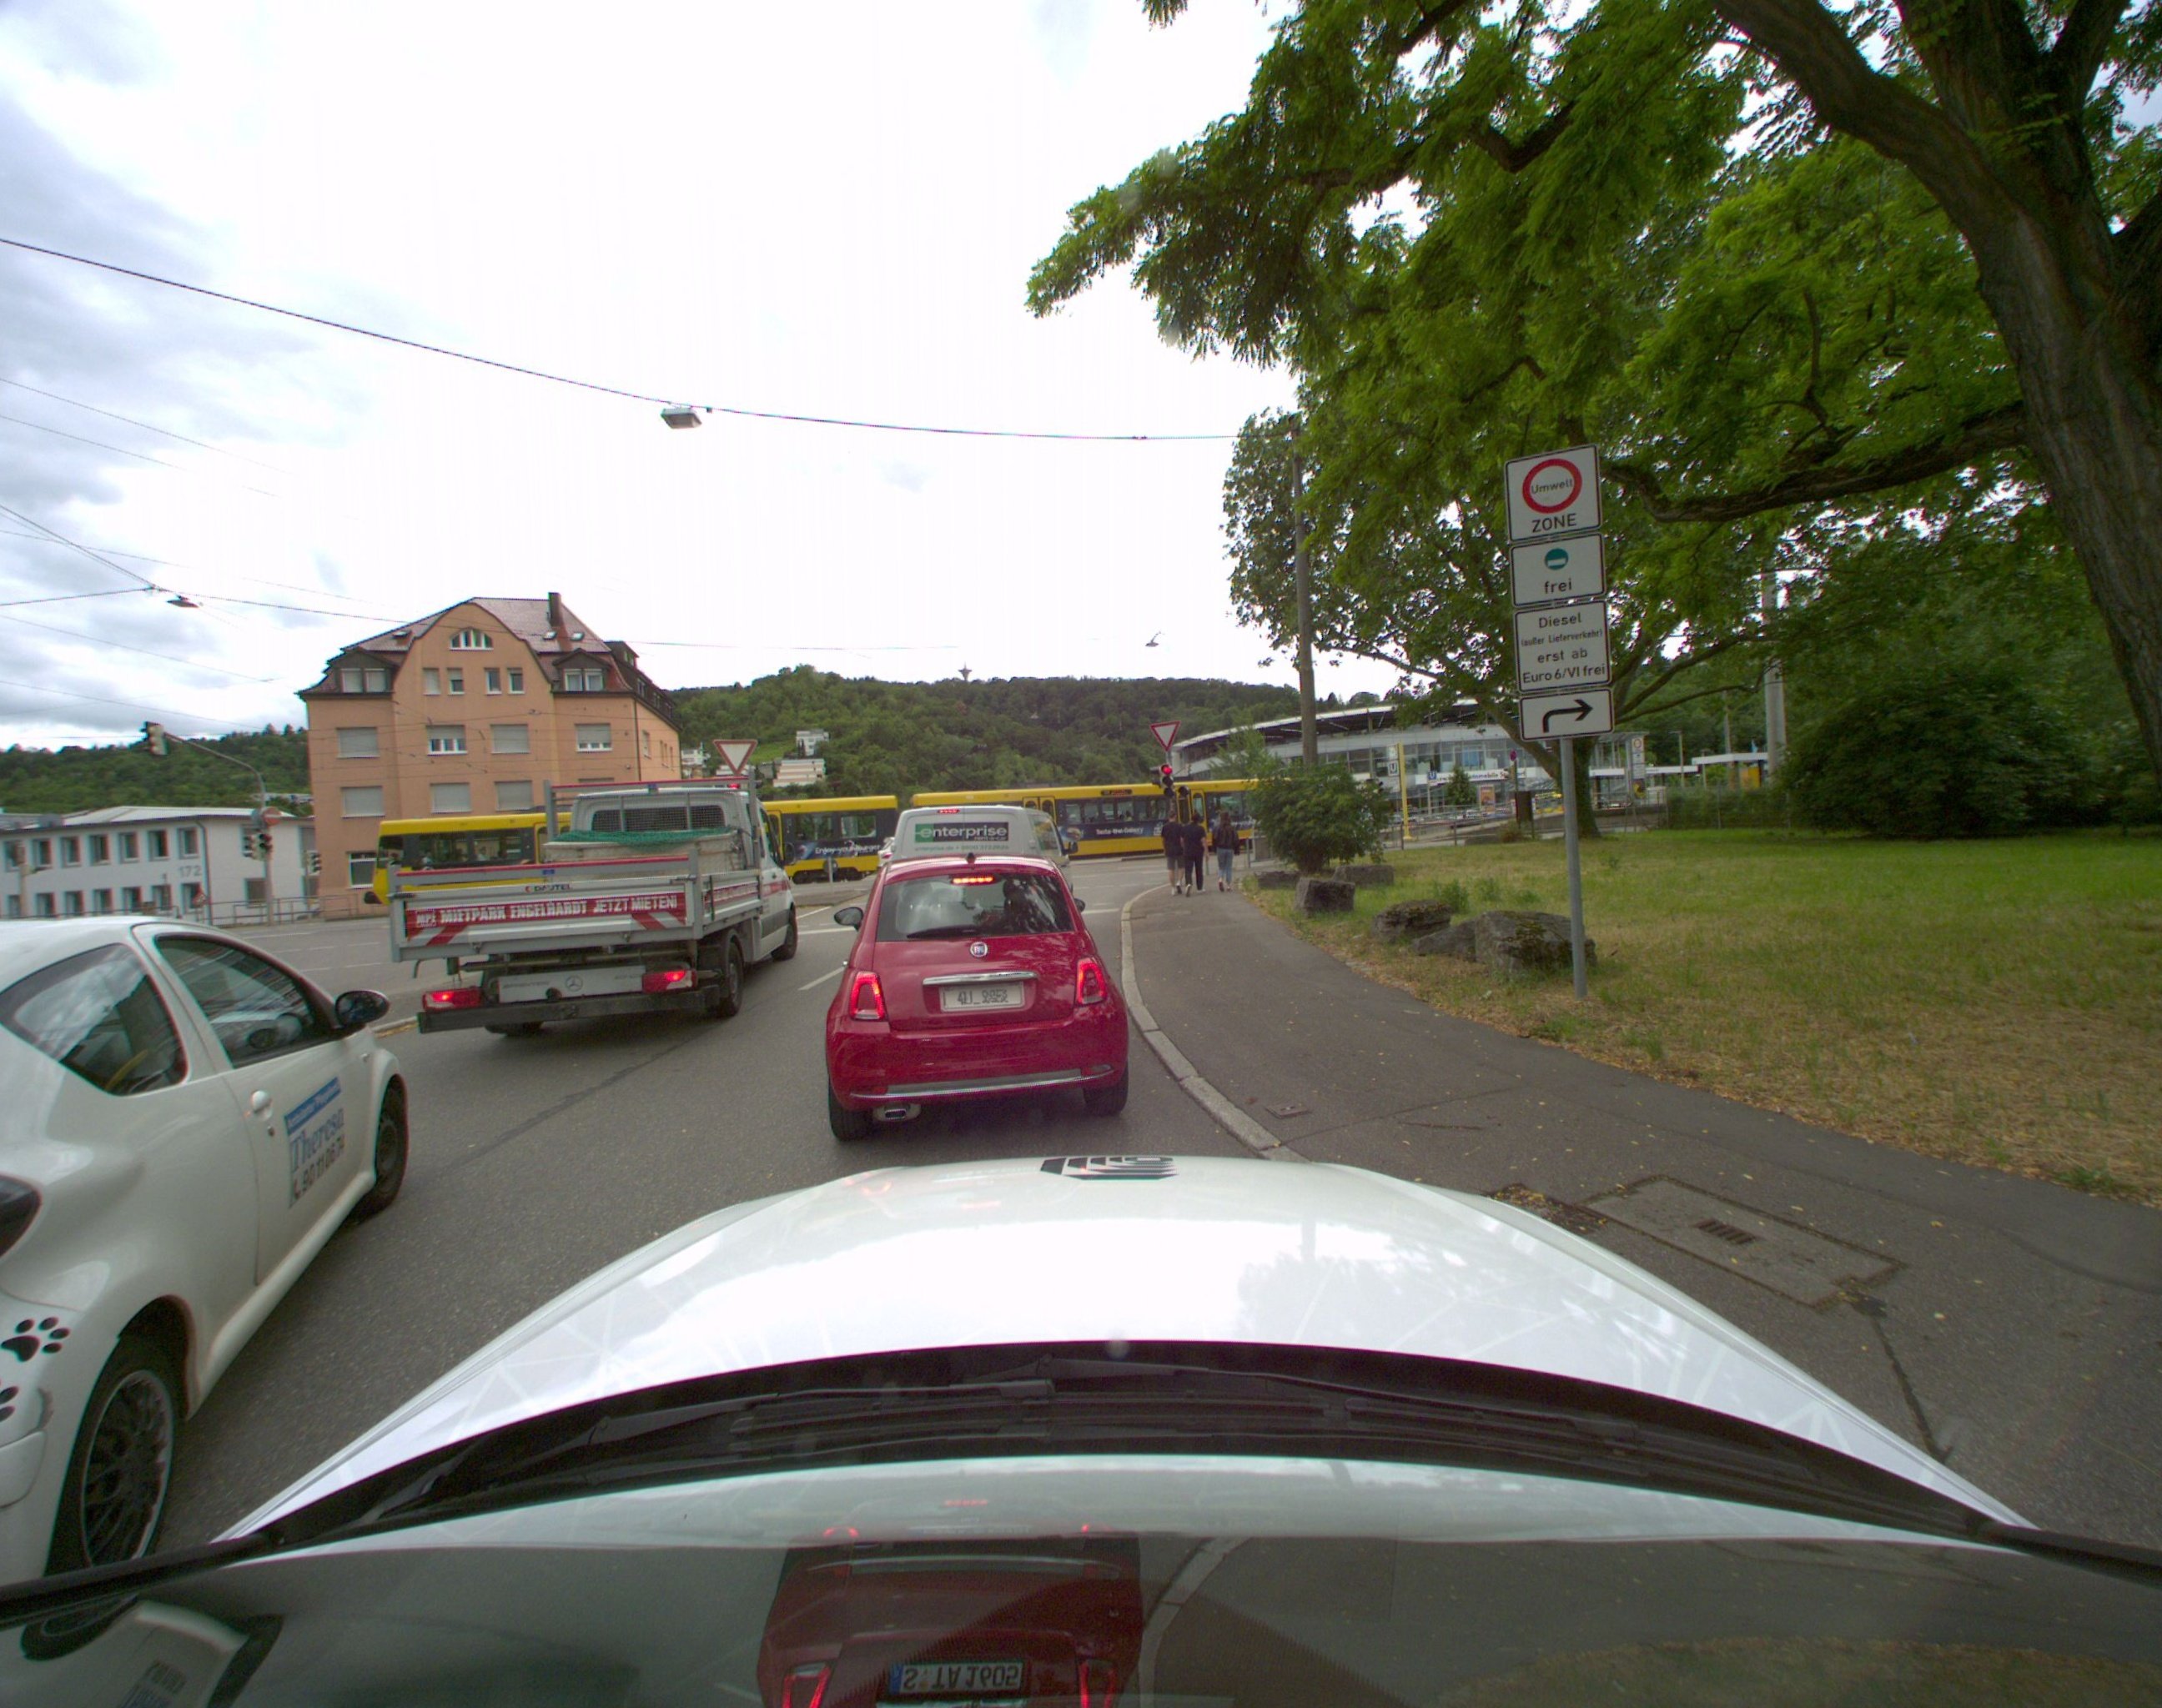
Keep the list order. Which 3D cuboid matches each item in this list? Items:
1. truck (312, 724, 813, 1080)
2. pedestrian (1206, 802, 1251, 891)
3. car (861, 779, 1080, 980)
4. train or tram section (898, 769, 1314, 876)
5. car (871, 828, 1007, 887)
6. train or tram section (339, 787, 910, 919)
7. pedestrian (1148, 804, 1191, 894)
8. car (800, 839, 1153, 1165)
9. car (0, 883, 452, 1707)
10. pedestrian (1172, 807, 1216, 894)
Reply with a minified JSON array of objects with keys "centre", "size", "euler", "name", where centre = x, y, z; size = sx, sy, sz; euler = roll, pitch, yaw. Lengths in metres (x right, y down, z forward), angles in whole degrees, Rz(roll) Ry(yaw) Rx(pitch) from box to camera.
[{"centre":[-4.688,0.289,8.914],"size":[2.423,2.397,6.006],"euler":[-4,1,-11],"name":"truck"},{"centre":[3.040,-0.162,16.728],"size":[0.687,1.739,0.792],"euler":[-4,1,17],"name":"pedestrian"},{"centre":[-1.245,0.237,11.491],"size":[1.981,2.106,4.767],"euler":[-4,1,4],"name":"car"},{"centre":[1.517,-1.586,37.749],"size":[19.165,3.665,3.258],"euler":[-4,1,-18],"name":"train or tram section"},{"centre":[-4.668,0.078,26.616],"size":[4.122,1.584,1.793],"euler":[-4,1,-17],"name":"car"},{"centre":[-16.690,-0.250,32.236],"size":[19.146,3.665,3.261],"euler":[-4,1,-15],"name":"train or tram section"},{"centre":[1.918,-0.114,17.491],"size":[0.688,1.857,0.791],"euler":[-4,1,14],"name":"pedestrian"},{"centre":[-0.740,0.686,5.667],"size":[1.638,1.456,3.420],"euler":[-3,1,-9],"name":"car"},{"centre":[-3.302,0.895,2.463],"size":[1.649,1.432,3.398],"euler":[-5,1,-30],"name":"car"},{"centre":[2.350,-0.074,16.842],"size":[0.688,1.714,0.792],"euler":[-4,1,16],"name":"pedestrian"}]
